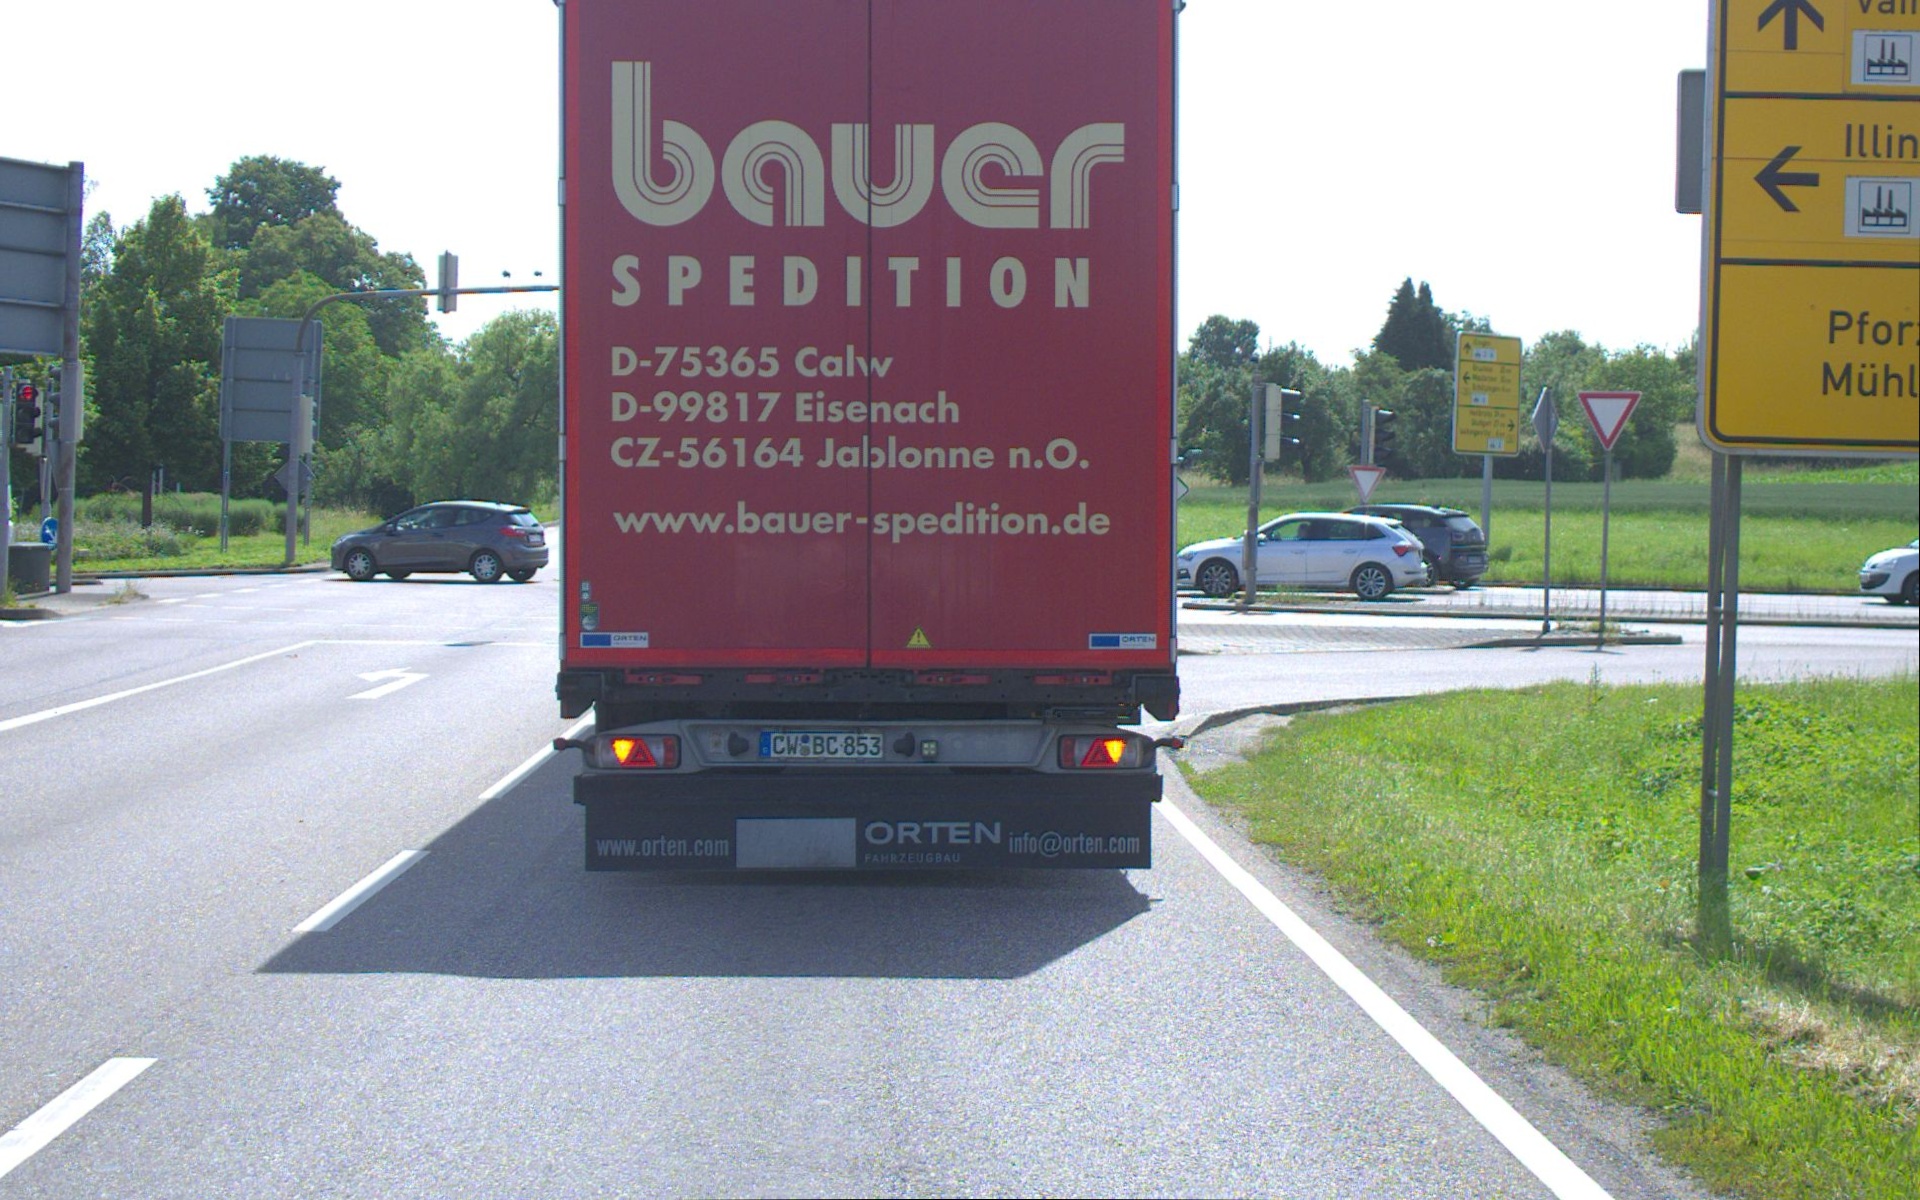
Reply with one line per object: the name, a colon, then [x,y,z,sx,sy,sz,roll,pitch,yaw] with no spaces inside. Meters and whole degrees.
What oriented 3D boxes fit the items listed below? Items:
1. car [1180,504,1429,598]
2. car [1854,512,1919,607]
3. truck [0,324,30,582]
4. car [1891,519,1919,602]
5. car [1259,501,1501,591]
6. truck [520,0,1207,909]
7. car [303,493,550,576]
car: [5.984,-0.854,59.572,4.101,1.542,1.872,1,0,11]
car: [17.666,-0.693,59.881,3.828,1.628,1.761,1,0,7]
truck: [-17.998,-2.360,54.199,5.831,4.047,2.796,2,2,18]
car: [17.391,-0.618,56.649,3.850,1.352,1.675,2,1,12]
car: [8.027,-1.047,65.805,4.282,1.650,1.696,1,1,34]
truck: [-0.632,-0.958,22.208,2.734,3.911,16.628,1,2,-2]
car: [-9.772,-1.195,63.088,3.989,1.424,1.999,2,1,12]
